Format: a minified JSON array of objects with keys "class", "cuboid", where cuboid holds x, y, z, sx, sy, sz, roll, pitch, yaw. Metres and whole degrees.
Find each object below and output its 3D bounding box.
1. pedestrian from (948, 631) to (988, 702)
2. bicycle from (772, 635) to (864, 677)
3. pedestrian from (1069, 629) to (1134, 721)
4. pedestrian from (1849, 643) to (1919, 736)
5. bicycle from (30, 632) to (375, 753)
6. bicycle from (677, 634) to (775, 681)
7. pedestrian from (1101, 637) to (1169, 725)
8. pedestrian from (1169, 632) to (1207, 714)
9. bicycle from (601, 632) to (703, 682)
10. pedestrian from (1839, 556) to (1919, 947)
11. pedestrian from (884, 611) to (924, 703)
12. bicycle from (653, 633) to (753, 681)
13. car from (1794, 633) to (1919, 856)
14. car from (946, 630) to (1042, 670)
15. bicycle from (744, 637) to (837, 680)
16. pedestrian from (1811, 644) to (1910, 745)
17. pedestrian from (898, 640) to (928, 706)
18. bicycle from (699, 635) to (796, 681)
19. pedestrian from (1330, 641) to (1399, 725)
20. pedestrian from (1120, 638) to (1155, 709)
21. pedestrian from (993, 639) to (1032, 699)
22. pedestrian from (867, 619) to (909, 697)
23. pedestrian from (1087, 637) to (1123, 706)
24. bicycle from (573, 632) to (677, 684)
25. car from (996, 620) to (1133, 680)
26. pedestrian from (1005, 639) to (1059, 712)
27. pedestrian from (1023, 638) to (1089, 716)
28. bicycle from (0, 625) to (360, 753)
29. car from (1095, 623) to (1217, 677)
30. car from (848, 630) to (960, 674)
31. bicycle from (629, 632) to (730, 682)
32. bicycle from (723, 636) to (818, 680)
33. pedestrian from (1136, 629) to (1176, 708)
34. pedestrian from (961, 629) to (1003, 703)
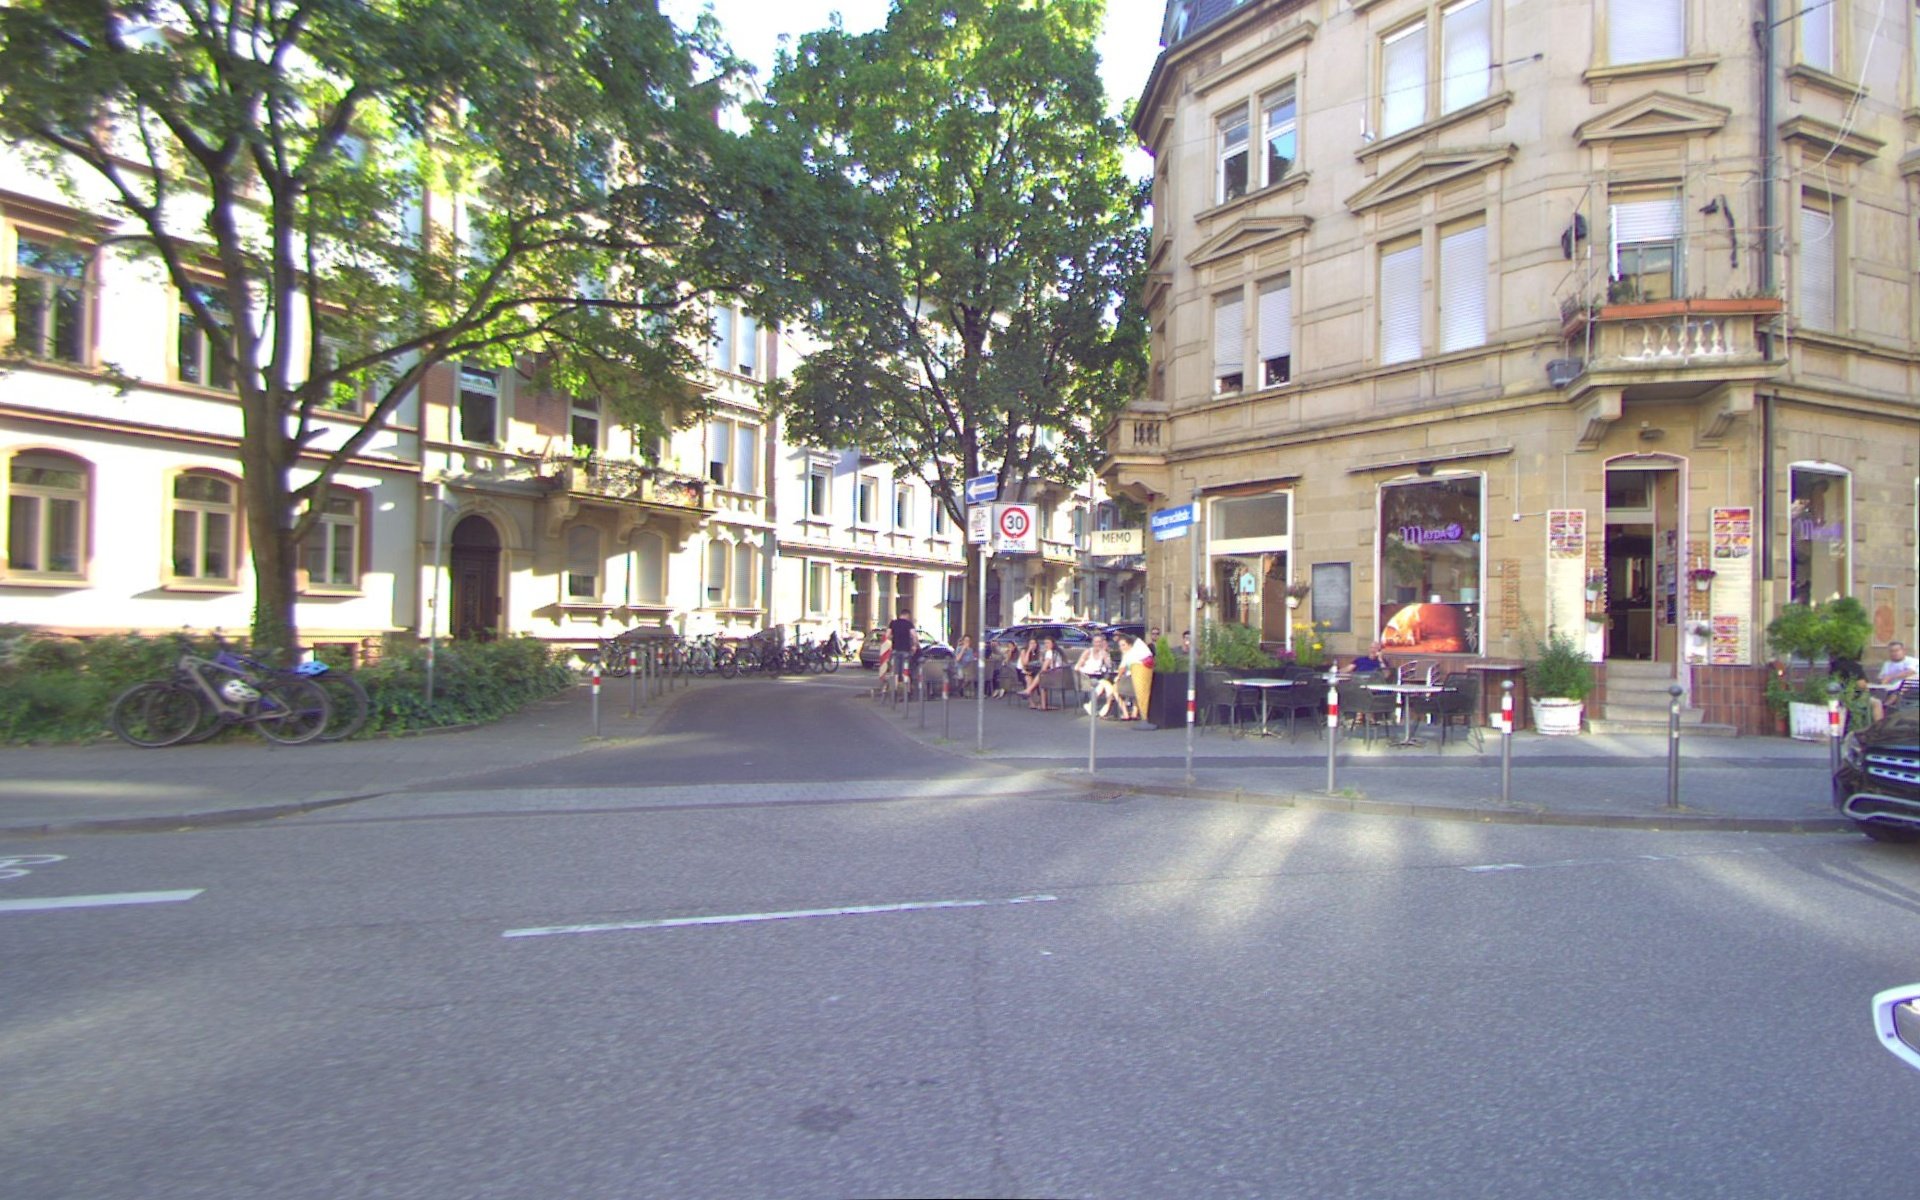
[{"class":"pedestrian","cuboid":[0.159,1.405,21.291,0.753,1.460,0.667,0,-2,-8]},{"class":"bicycle","cuboid":[-4.348,1.677,30.581,3.085,1.196,0.749,-1,-2,35]},{"class":"pedestrian","cuboid":[2.279,1.194,16.236,0.720,1.429,0.750,2,-2,-32]},{"class":"pedestrian","cuboid":[12.955,1.223,13.898,0.746,1.230,0.724,1,-2,-23]},{"class":"bicycle","cuboid":[-8.019,0.964,10.788,2.911,1.212,0.546,1,-1,-17]},{"class":"bicycle","cuboid":[-6.466,1.555,27.630,3.085,1.196,0.749,-1,-2,35]},{"class":"pedestrian","cuboid":[2.705,1.230,15.523,0.734,1.306,0.739,2,-2,-30]},{"class":"pedestrian","cuboid":[3.929,1.249,17.320,0.428,1.385,0.478,1,-1,-29]},{"class":"bicycle","cuboid":[-7.876,1.423,25.613,3.085,1.196,0.749,-1,-2,35]},{"class":"pedestrian","cuboid":[5.205,0.747,4.921,0.831,1.923,1.111,1,-2,-25]},{"class":"pedestrian","cuboid":[-1.123,1.131,20.065,0.753,1.793,0.571,0,-2,-8]},{"class":"bicycle","cuboid":[-6.926,1.507,26.941,3.085,1.196,0.749,-1,-2,35]},{"class":"car","cuboid":[8.471,1.015,7.292,4.071,1.507,1.758,1,-3,-17]},{"class":"car","cuboid":[1.343,1.874,38.248,1.897,1.394,3.740,0,-2,35]},{"class":"bicycle","cuboid":[-5.033,1.700,29.667,3.085,1.196,0.749,-1,-2,35]},{"class":"pedestrian","cuboid":[11.887,1.224,13.274,0.746,1.275,0.724,1,-2,-23]},{"class":"pedestrian","cuboid":[-0.979,1.511,20.957,0.562,1.338,0.504,0,-1,-10]},{"class":"bicycle","cuboid":[-6.020,1.601,28.305,3.085,1.196,0.749,-1,-2,35]},{"class":"pedestrian","cuboid":[6.187,1.253,15.377,0.750,1.230,0.719,2,-2,-40]},{"class":"pedestrian","cuboid":[3.224,1.327,18.270,0.427,1.265,0.479,0,-1,-23]},{"class":"pedestrian","cuboid":[1.083,1.424,20.892,0.665,1.231,0.667,0,-2,-10]},{"class":"pedestrian","cuboid":[-1.590,1.265,22.016,0.756,1.691,0.665,1,-3,-22]},{"class":"pedestrian","cuboid":[2.756,1.348,19.082,0.503,1.265,0.479,0,-1,-23]},{"class":"bicycle","cuboid":[-8.338,1.409,24.907,3.085,1.196,0.749,-1,-2,35]},{"class":"car","cuboid":[2.945,1.409,28.697,3.759,1.582,1.804,1,-2,4]},{"class":"pedestrian","cuboid":[1.290,1.352,18.150,0.738,1.265,0.703,0,-1,-23]},{"class":"pedestrian","cuboid":[1.647,1.302,17.319,0.738,1.265,1.019,0,-1,-23]},{"class":"bicycle","cuboid":[-7.851,0.881,10.221,2.911,1.212,0.546,1,-1,-17]},{"class":"car","cuboid":[6.540,1.663,33.801,3.919,1.706,2.002,0,-2,9]},{"class":"car","cuboid":[-1.848,1.738,34.104,1.897,1.394,3.740,0,-2,35]},{"class":"bicycle","cuboid":[-7.382,1.464,26.300,3.085,1.196,0.749,-1,-2,35]},{"class":"bicycle","cuboid":[-5.502,1.651,28.968,3.085,1.196,0.749,-1,-2,35]},{"class":"pedestrian","cuboid":[3.688,1.278,18.928,0.476,1.450,0.565,1,-1,-31]},{"class":"pedestrian","cuboid":[0.438,1.332,20.301,0.753,1.460,0.667,0,-2,-8]}]
